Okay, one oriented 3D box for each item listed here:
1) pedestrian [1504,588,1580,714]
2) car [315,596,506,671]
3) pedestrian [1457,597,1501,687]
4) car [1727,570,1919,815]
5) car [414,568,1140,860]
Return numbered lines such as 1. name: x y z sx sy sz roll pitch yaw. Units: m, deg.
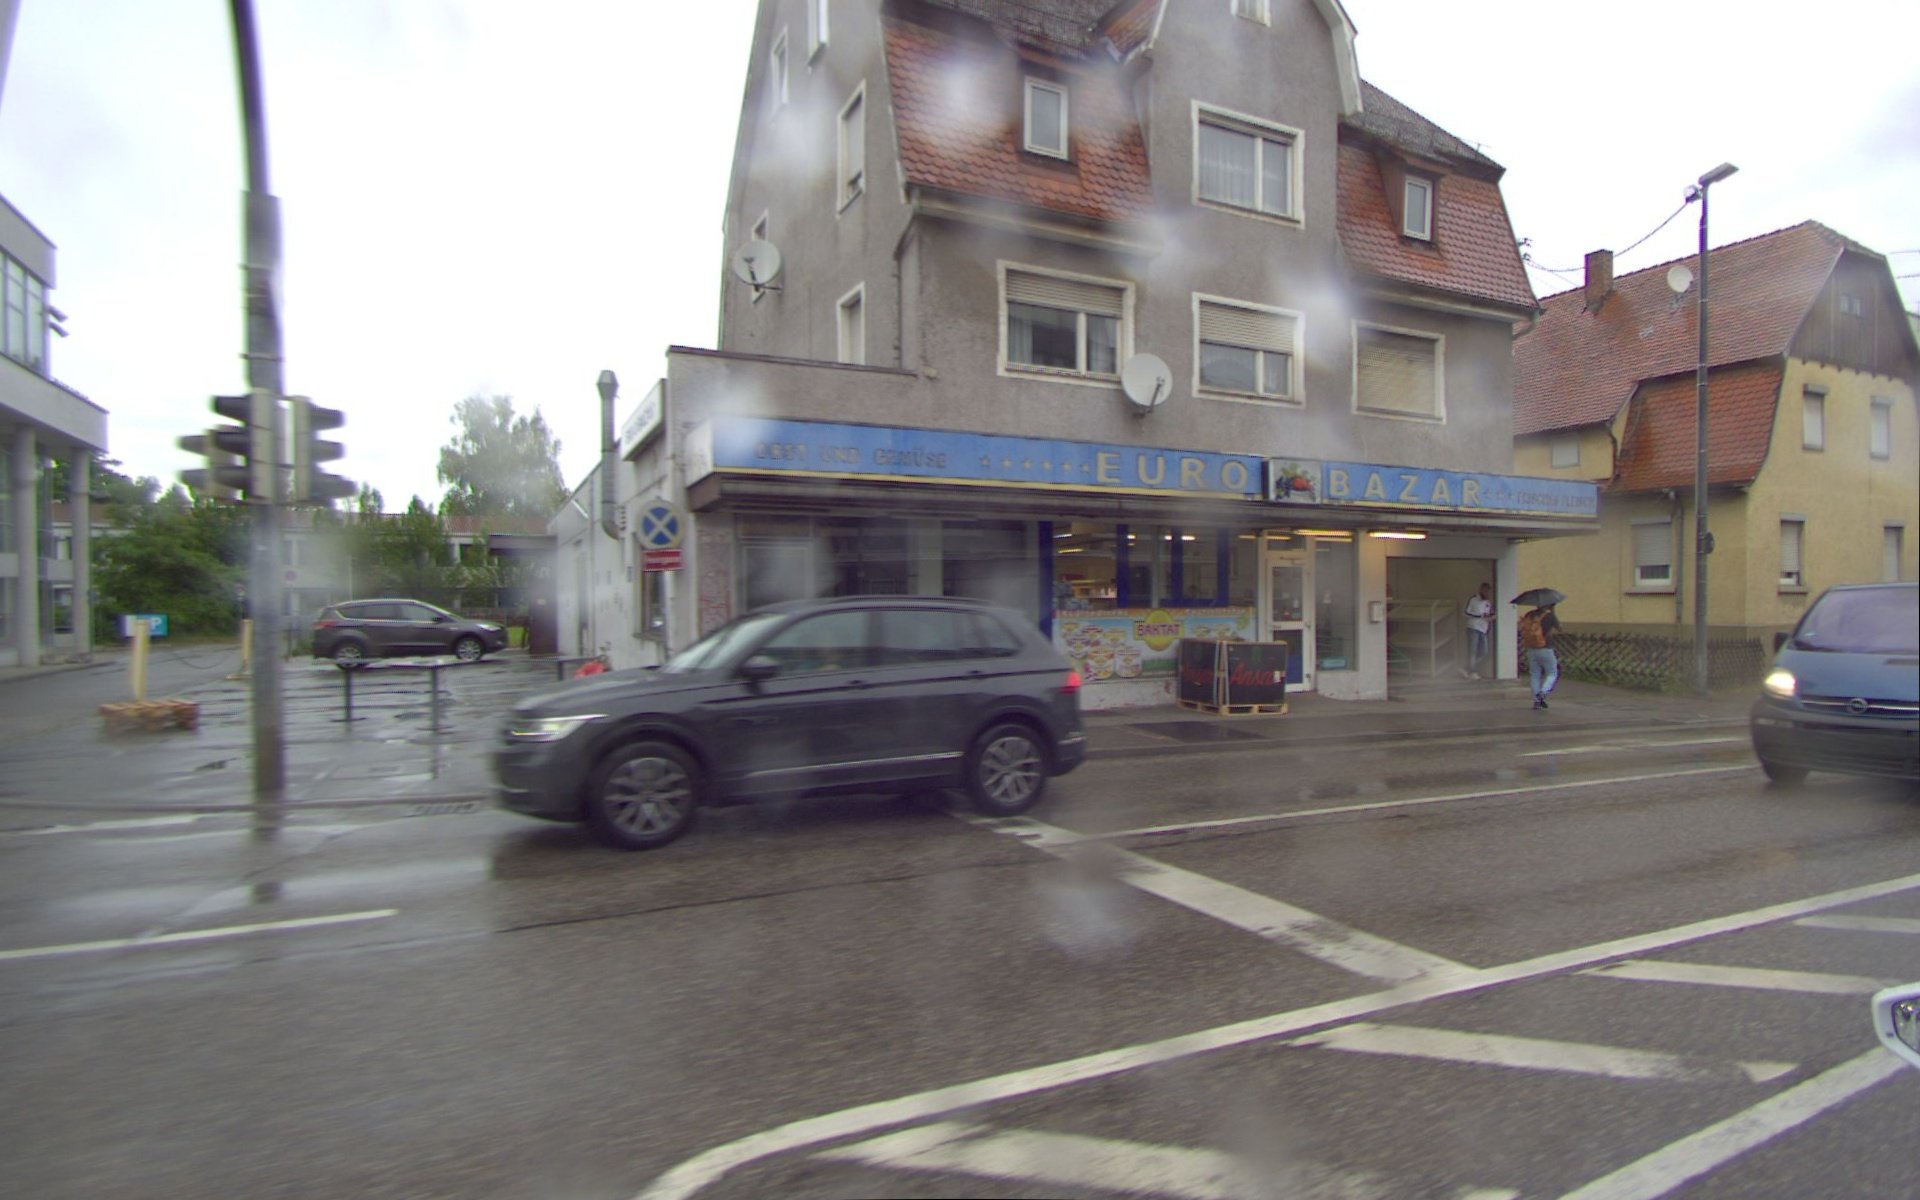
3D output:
1. pedestrian: 9.329 0.807 16.105 0.938 1.947 0.656 2 1 -36
2. car: -13.999 0.891 25.879 4.106 1.778 1.746 2 -2 -24
3. pedestrian: 9.268 0.746 17.937 0.441 1.578 0.541 2 -1 -27
4. car: 9.748 0.841 9.705 5.120 1.963 1.956 2 -2 -31
5. car: -1.246 0.743 7.606 4.881 1.639 1.995 2 -2 -25
